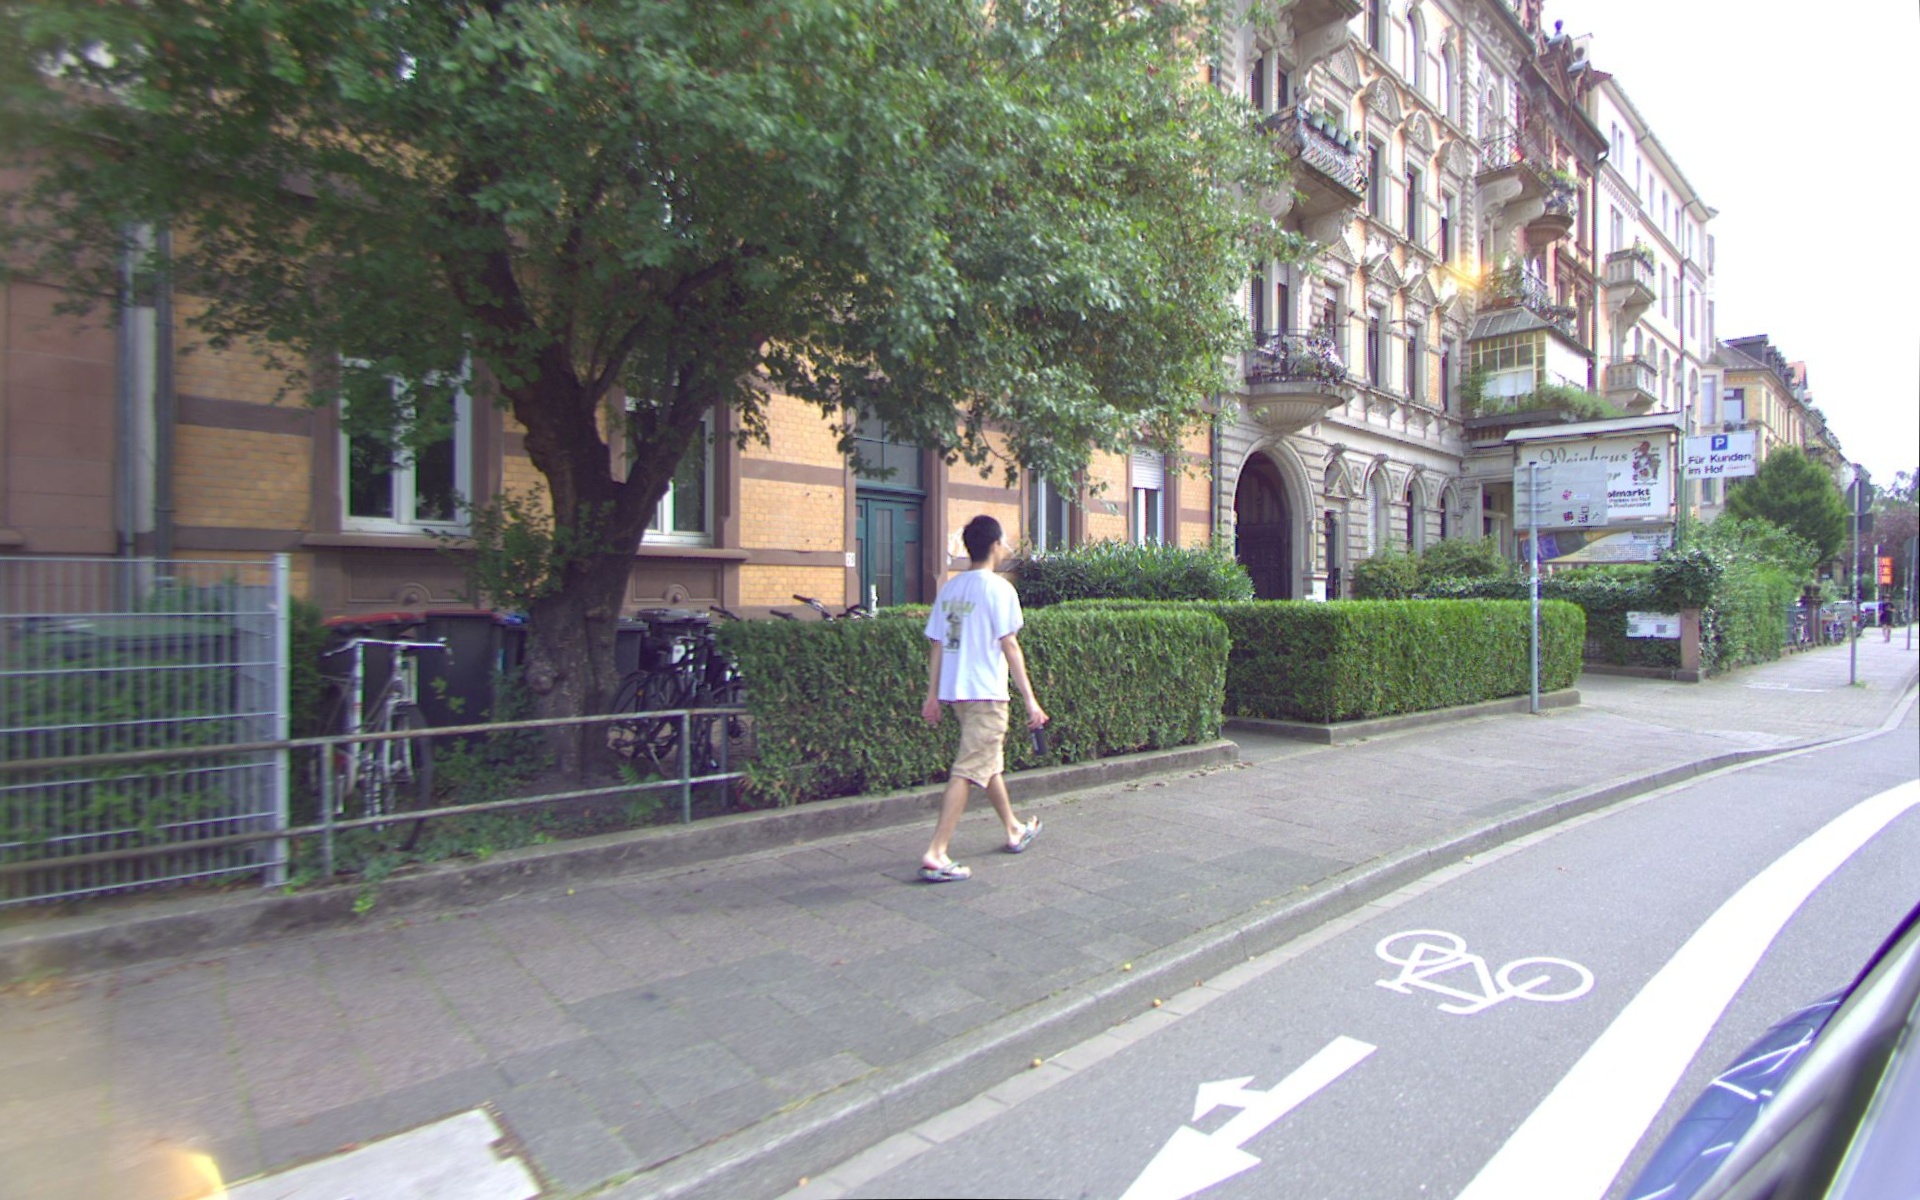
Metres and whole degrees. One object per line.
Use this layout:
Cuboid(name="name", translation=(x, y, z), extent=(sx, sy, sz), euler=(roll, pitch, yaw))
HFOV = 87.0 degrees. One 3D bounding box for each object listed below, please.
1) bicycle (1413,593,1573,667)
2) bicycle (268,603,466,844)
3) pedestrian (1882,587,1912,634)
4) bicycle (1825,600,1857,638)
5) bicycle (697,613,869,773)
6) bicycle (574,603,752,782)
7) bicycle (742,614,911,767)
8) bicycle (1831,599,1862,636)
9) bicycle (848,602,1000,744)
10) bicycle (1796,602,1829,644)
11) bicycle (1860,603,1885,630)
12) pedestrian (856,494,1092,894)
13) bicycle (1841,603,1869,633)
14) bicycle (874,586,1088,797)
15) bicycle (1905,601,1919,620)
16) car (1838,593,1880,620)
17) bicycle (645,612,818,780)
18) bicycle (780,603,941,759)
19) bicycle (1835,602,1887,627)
Cuboid(name="bicycle", translation=(10.207, 0.528, 19.474), extent=(2.624, 1.328, 0.758), euler=(1, 0, 45))
Cuboid(name="bicycle", translation=(-3.034, 0.536, 5.116), extent=(0.502, 1.021, 1.546), euler=(0, 0, -45))
Cuboid(name="pedestrian", translation=(33.135, 0.354, 35.786), extent=(0.821, 1.644, 0.731), euler=(0, 0, -44))
Cuboid(name="bicycle", translation=(27.458, 0.573, 31.541), extent=(0.579, 1.125, 1.645), euler=(5, 4, 45))
Cuboid(name="bicycle", translation=(-1.326, 0.619, 7.380), extent=(0.437, 1.021, 1.546), euler=(0, 0, -45))
Cuboid(name="bicycle", translation=(-1.974, 0.539, 6.602), extent=(0.437, 1.021, 1.546), euler=(0, 0, -45))
Cuboid(name="bicycle", translation=(-1.048, 0.637, 7.718), extent=(0.437, 1.021, 1.546), euler=(0, 0, -45))
Cuboid(name="bicycle", translation=(28.838, 0.561, 32.906), extent=(0.579, 1.125, 1.645), euler=(5, 4, 45))
Cuboid(name="bicycle", translation=(-0.361, 0.625, 9.412), extent=(0.509, 1.196, 1.546), euler=(0, 0, -45))
Cuboid(name="bicycle", translation=(23.575, 0.611, 27.979), extent=(0.579, 1.126, 1.645), euler=(0, 0, 45))
Cuboid(name="bicycle", translation=(35.552, 0.641, 39.440), extent=(0.579, 0.995, 1.645), euler=(5, 4, 45))
Cuboid(name="pedestrian", translation=(0.071, 0.413, 5.068), extent=(0.932, 1.776, 0.732), euler=(0, 0, -39))
Cuboid(name="bicycle", translation=(31.353, 0.622, 35.450), extent=(0.579, 0.995, 1.645), euler=(5, 4, 45))
Cuboid(name="bicycle", translation=(0.178, 0.560, 6.920), extent=(1.523, 1.298, 0.517), euler=(0, 0, -42))
Cuboid(name="bicycle", translation=(58.532, 0.657, 62.163), extent=(1.843, 1.127, 0.629), euler=(0, 0, -43))
Cuboid(name="car", translation=(53.000, 0.366, 59.724), extent=(1.750, 1.544, 3.941), euler=(0, 0, 40))
Cuboid(name="bicycle", translation=(-1.635, 0.615, 7.085), extent=(0.437, 1.021, 1.546), euler=(0, 0, -45))
Cuboid(name="bicycle", translation=(-0.874, 0.633, 8.611), extent=(0.509, 1.196, 1.546), euler=(0, 0, -45))
Cuboid(name="bicycle", translation=(41.551, 0.680, 46.680), extent=(1.838, 1.127, 0.631), euler=(0, 0, 0))
